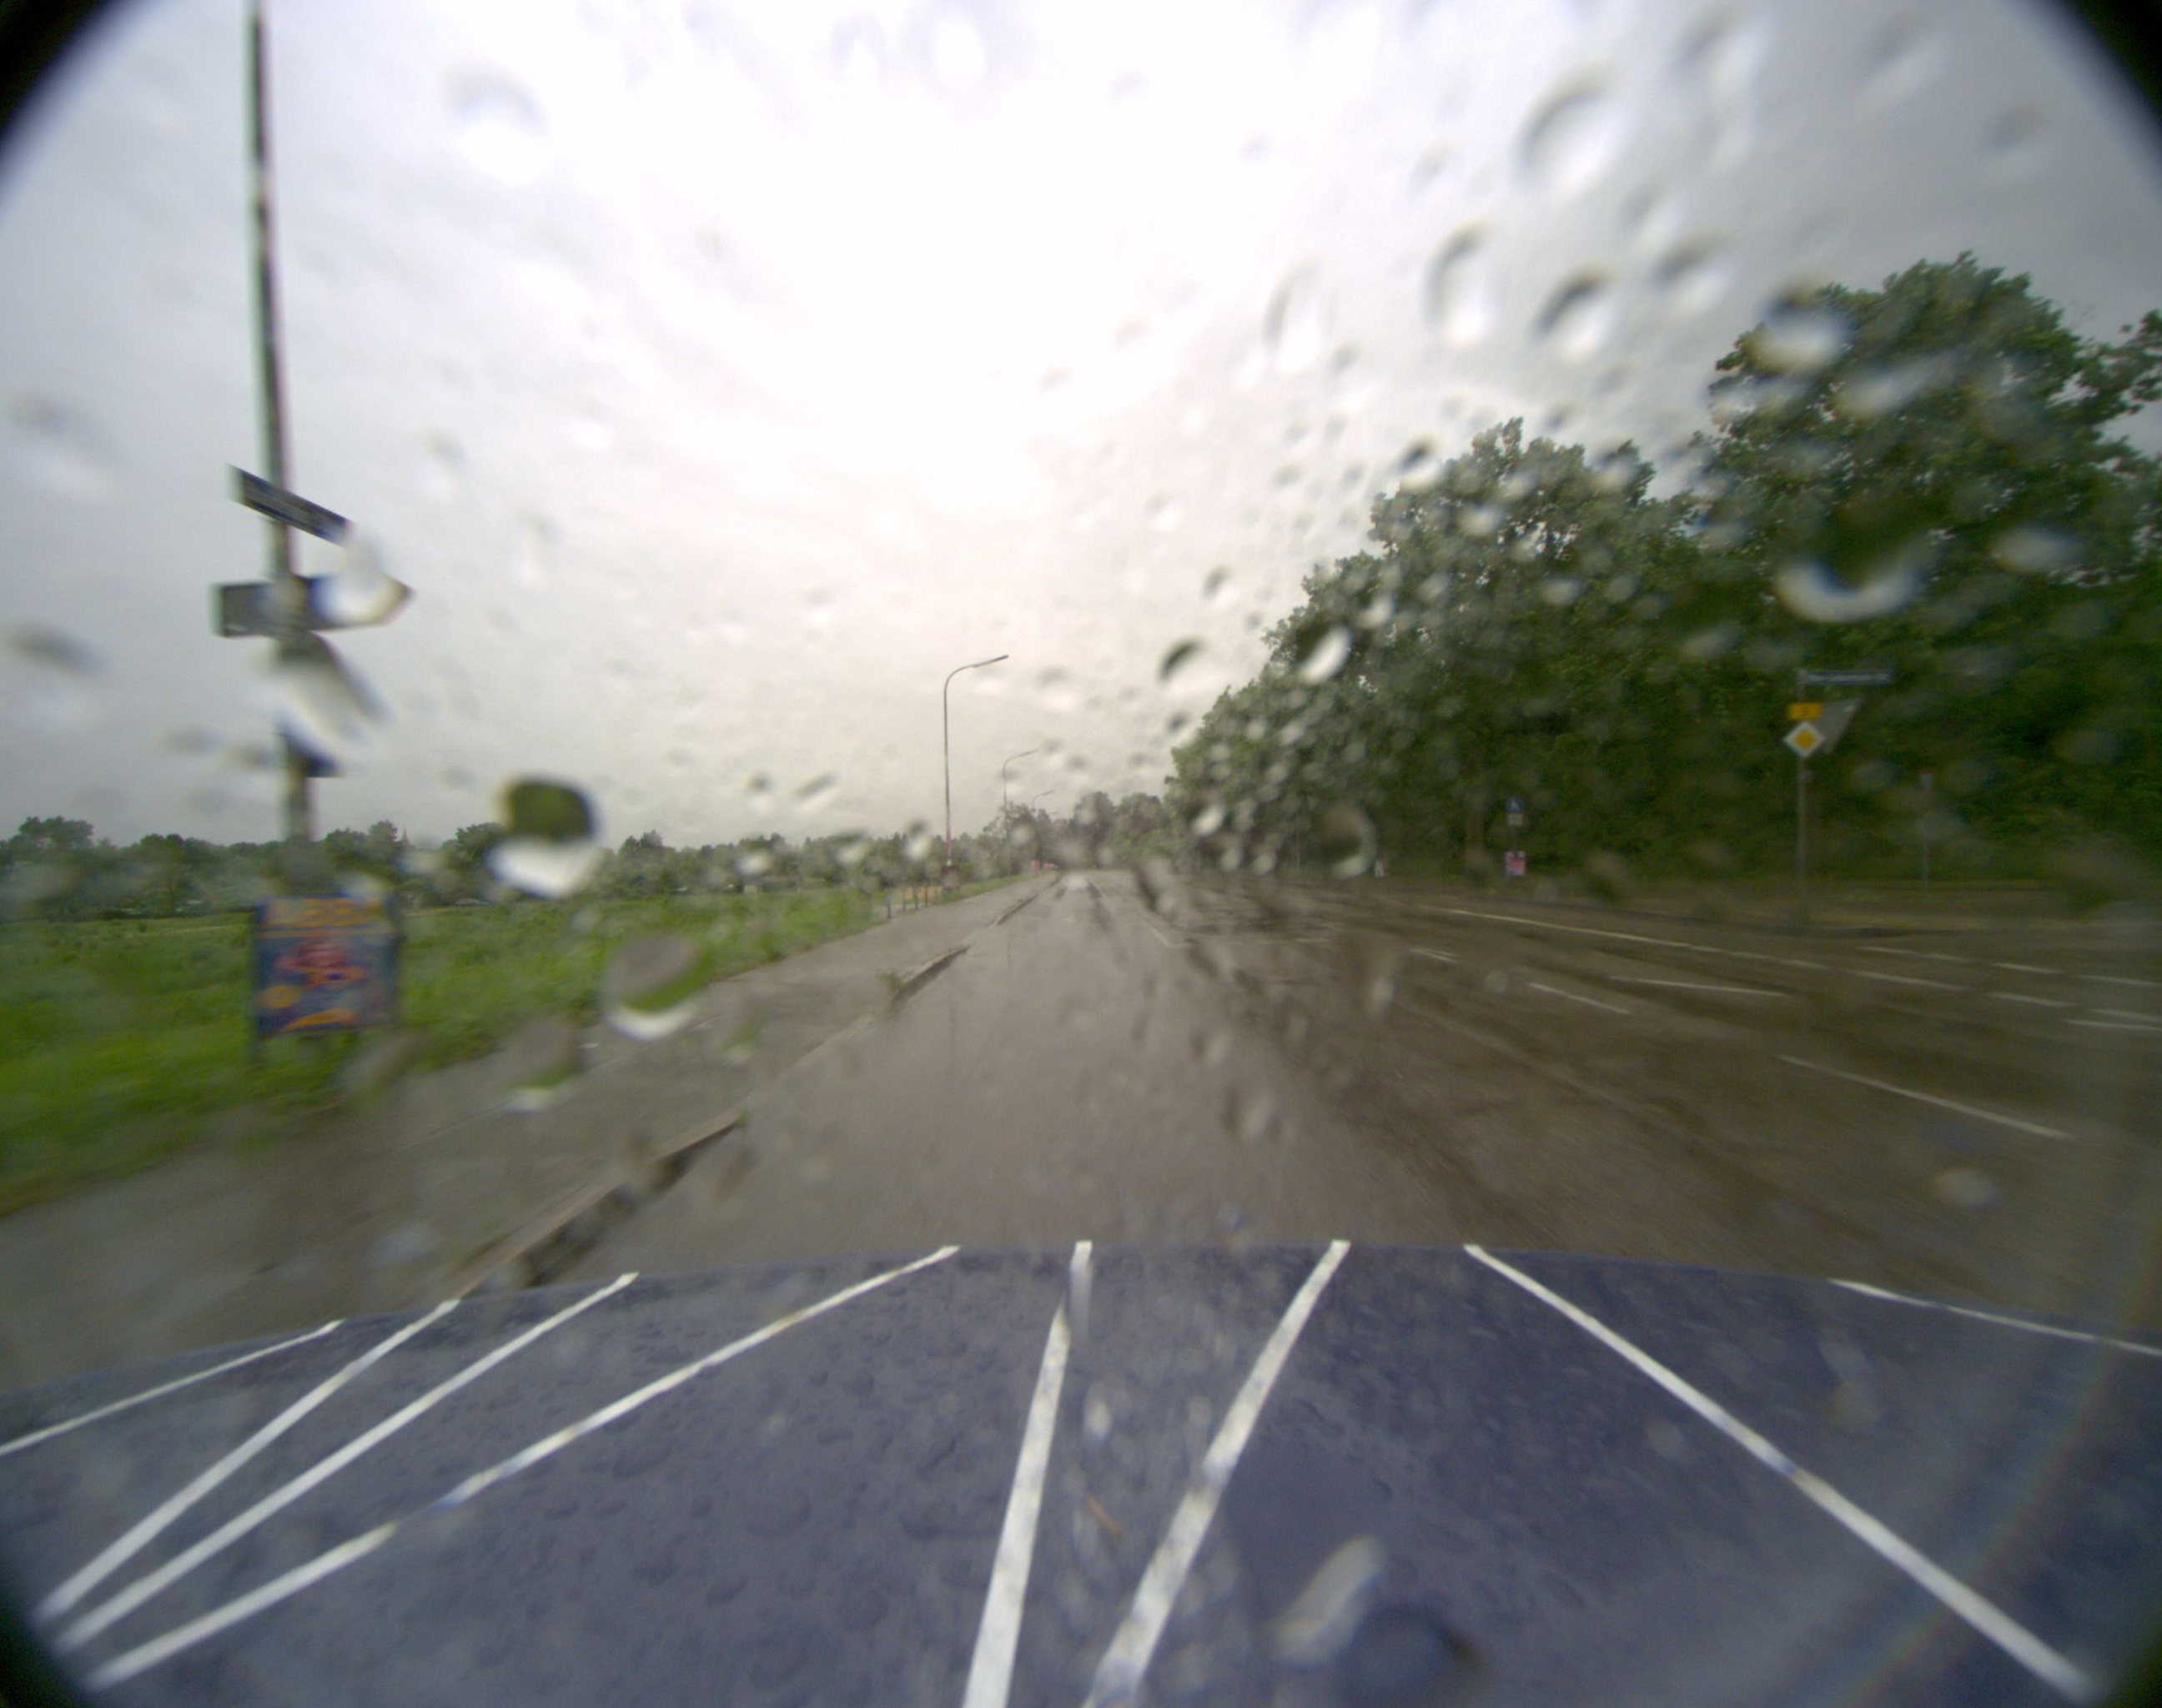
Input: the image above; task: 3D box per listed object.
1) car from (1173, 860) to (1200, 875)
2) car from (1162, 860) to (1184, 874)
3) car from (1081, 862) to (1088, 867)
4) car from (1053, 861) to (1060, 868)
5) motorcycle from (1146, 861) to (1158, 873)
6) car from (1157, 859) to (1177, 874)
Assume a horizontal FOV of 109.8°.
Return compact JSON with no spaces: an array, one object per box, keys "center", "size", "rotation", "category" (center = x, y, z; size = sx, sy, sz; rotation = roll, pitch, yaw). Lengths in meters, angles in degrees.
[{"center":[10.275,1.292,74.415],"size":[1.691,1.411,4.740],"rotation":[-1,0,-3],"category":"car"},{"center":[9.629,1.352,79.541],"size":[1.437,1.411,4.102],"rotation":[-1,0,-6],"category":"car"},{"center":[1.142,3.241,238.590],"size":[1.854,1.583,3.704],"rotation":[-2,-1,-3],"category":"car"},{"center":[-7.416,3.211,229.302],"size":[1.999,2.001,4.000],"rotation":[-2,-1,-2],"category":"car"},{"center":[8.461,1.531,90.691],"size":[0.840,1.333,2.498],"rotation":[-1,0,-7],"category":"motorcycle"},{"center":[9.413,1.371,83.701],"size":[1.438,1.528,2.817],"rotation":[-1,0,-10],"category":"car"}]
